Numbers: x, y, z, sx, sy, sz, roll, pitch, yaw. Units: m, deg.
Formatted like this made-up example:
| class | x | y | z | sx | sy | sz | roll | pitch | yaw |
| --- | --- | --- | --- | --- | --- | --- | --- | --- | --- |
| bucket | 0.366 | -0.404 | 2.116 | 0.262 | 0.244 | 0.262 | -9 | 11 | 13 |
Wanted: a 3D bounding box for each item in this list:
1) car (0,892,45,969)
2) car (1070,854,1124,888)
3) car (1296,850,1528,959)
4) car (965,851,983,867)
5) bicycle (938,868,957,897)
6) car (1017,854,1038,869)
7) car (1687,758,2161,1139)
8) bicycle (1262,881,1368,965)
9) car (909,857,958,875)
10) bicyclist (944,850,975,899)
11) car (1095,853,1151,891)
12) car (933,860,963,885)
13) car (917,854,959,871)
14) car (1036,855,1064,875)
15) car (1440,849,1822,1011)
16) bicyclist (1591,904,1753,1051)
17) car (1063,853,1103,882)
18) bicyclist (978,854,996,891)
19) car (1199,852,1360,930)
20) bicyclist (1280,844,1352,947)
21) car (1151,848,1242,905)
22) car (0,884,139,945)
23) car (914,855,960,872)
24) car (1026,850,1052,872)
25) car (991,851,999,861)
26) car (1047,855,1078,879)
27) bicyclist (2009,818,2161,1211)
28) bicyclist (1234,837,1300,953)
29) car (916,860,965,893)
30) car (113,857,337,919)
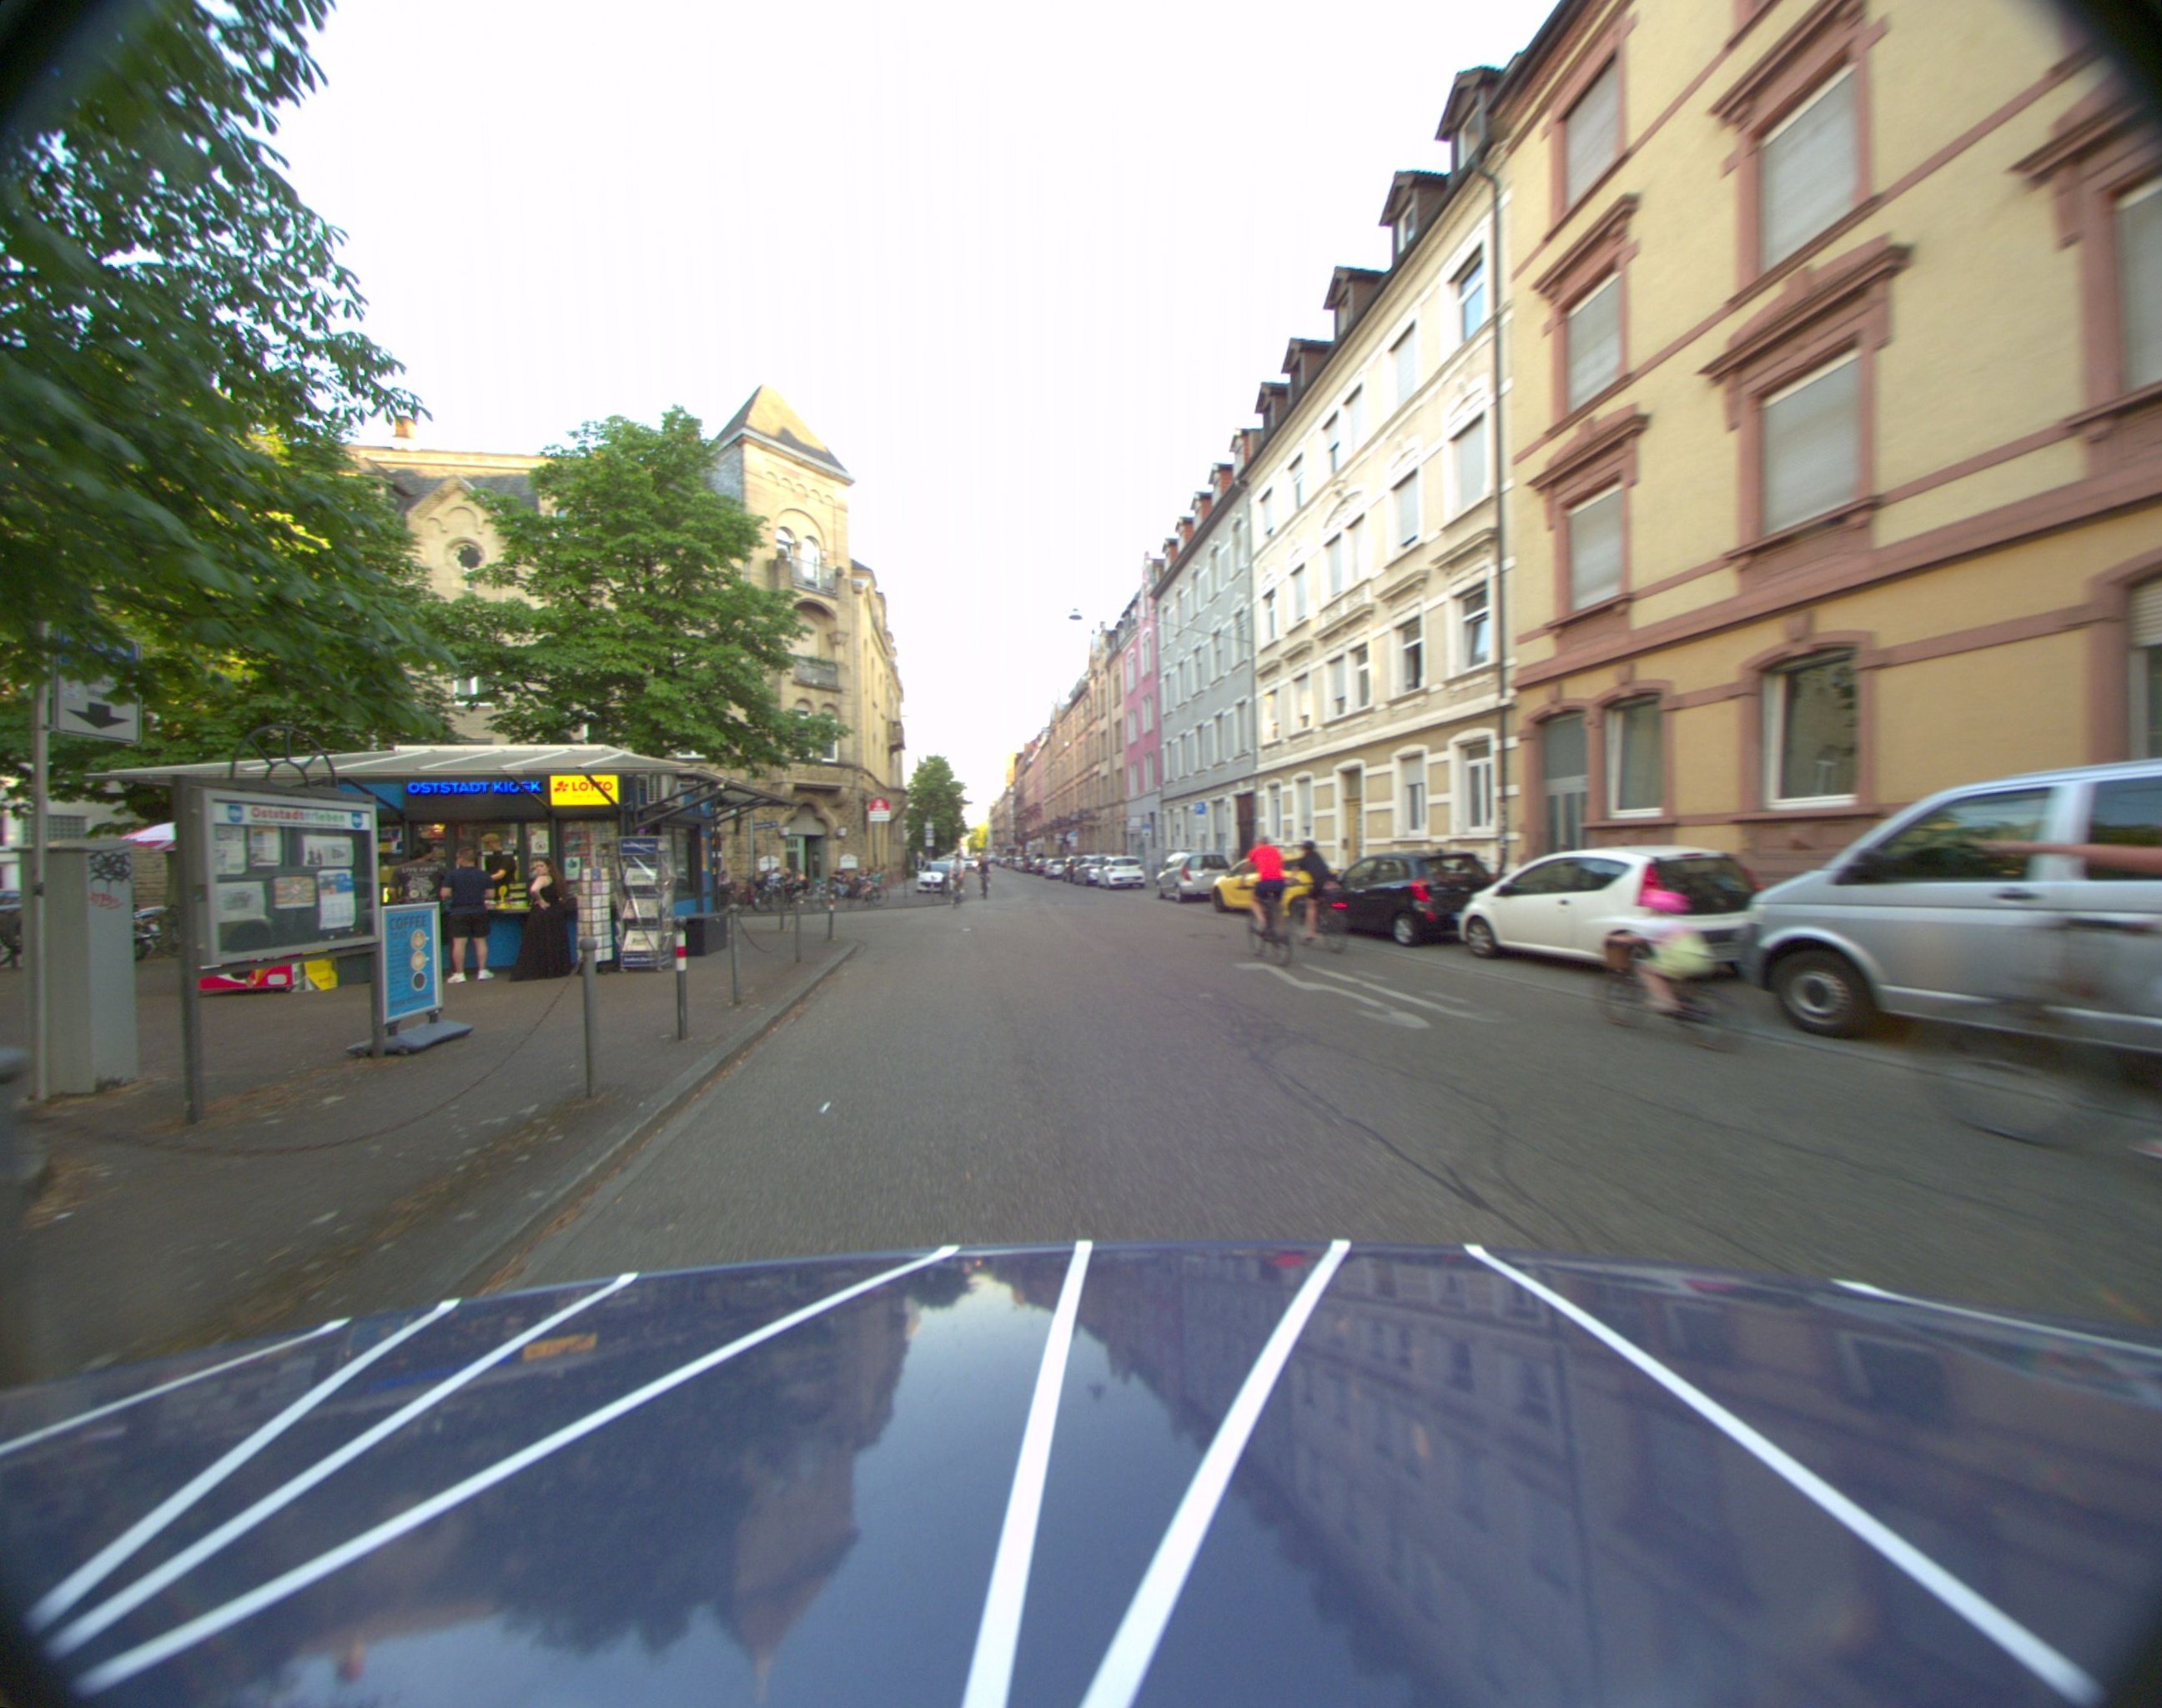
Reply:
| class | x | y | z | sx | sy | sz | roll | pitch | yaw |
| --- | --- | --- | --- | --- | --- | --- | --- | --- | --- |
| car | -23.122 | 1.606 | 14.407 | 3.907 | 1.475 | 1.825 | -3 | 1 | -9 |
| car | 0.774 | 0.859 | 40.532 | 1.839 | 1.583 | 4.668 | -4 | 0 | -11 |
| car | 5.416 | 0.736 | 12.996 | 1.735 | 1.483 | 3.738 | -3 | 1 | -12 |
| car | -13.056 | 0.632 | 92.341 | 1.958 | 1.729 | 4.281 | -4 | 0 | -9 |
| bicycle | -5.636 | 1.179 | 32.128 | 0.686 | 1.144 | 2.114 | 1 | 0 | -8 |
| car | -6.178 | 0.878 | 87.011 | 1.759 | 1.466 | 4.053 | -7 | 1 | -11 |
| car | 6.744 | 0.457 | 4.378 | 2.047 | 2.045 | 5.001 | -3 | 1 | -8 |
| bicycle | 3.595 | 1.021 | 11.874 | 0.723 | 1.101 | 2.012 | -2 | 0 | -10 |
| car | -13.352 | 1.095 | 68.887 | 4.304 | 1.443 | 1.822 | -2 | 0 | -9 |
| bicyclist | -3.772 | 0.627 | 23.634 | 0.685 | 1.503 | 0.973 | -1 | 1 | 7 |
| car | 1.905 | 0.794 | 35.491 | 1.758 | 1.567 | 3.924 | -4 | 0 | -8 |
| car | -8.241 | 1.098 | 47.304 | 1.769 | 1.476 | 4.553 | 0 | 0 | -9 |
| car | -15.513 | 0.939 | 82.642 | 4.304 | 1.666 | 1.822 | -2 | 0 | -9 |
| car | -2.723 | 0.914 | 64.982 | 1.758 | 1.466 | 4.276 | -7 | 1 | -9 |
| car | 6.315 | 0.735 | 9.293 | 1.689 | 1.483 | 3.610 | -3 | 1 | -9 |
| bicyclist | 4.467 | 0.900 | 5.785 | 0.648 | 0.971 | 0.729 | -1 | 1 | -7 |
| car | 0.068 | 0.815 | 46.713 | 1.759 | 1.583 | 4.054 | -4 | 0 | -9 |
| bicyclist | -3.850 | 0.745 | 31.131 | 0.686 | 1.503 | 0.972 | -2 | 1 | -8 |
| car | 4.602 | 0.788 | 18.502 | 1.845 | 1.517 | 4.797 | -4 | 0 | -11 |
| bicyclist | 3.612 | 0.614 | 11.734 | 0.716 | 1.517 | 0.866 | -2 | 1 | -10 |
| car | 3.665 | 0.681 | 24.878 | 1.805 | 1.583 | 4.142 | -4 | 0 | -7 |
| car | -29.303 | 1.691 | 20.905 | 3.908 | 1.475 | 1.824 | -3 | 1 | -11 |
| car | -14.171 | 0.961 | 75.028 | 4.304 | 1.520 | 1.822 | -2 | 0 | -9 |
| car | -4.144 | 0.639 | 74.427 | 1.875 | 1.949 | 4.288 | -5 | 1 | -10 |
| car | -21.322 | 0.519 | 188.793 | 1.758 | 2.264 | 4.054 | -7 | 1 | -8 |
| car | -1.404 | 0.923 | 56.011 | 1.758 | 1.466 | 4.054 | -7 | 1 | -7 |
| bicyclist | 4.670 | 0.635 | 3.121 | 0.727 | 1.574 | 0.874 | -2 | 1 | -16 |
| bicyclist | 2.541 | 0.541 | 10.451 | 0.654 | 1.517 | 0.867 | -1 | 1 | -2 |
| car | -6.659 | 1.035 | 36.417 | 1.769 | 1.476 | 4.461 | 1 | 0 | -4 |
| car | -24.401 | 0.930 | 21.817 | 3.907 | 1.475 | 1.825 | -3 | 1 | -10 |
